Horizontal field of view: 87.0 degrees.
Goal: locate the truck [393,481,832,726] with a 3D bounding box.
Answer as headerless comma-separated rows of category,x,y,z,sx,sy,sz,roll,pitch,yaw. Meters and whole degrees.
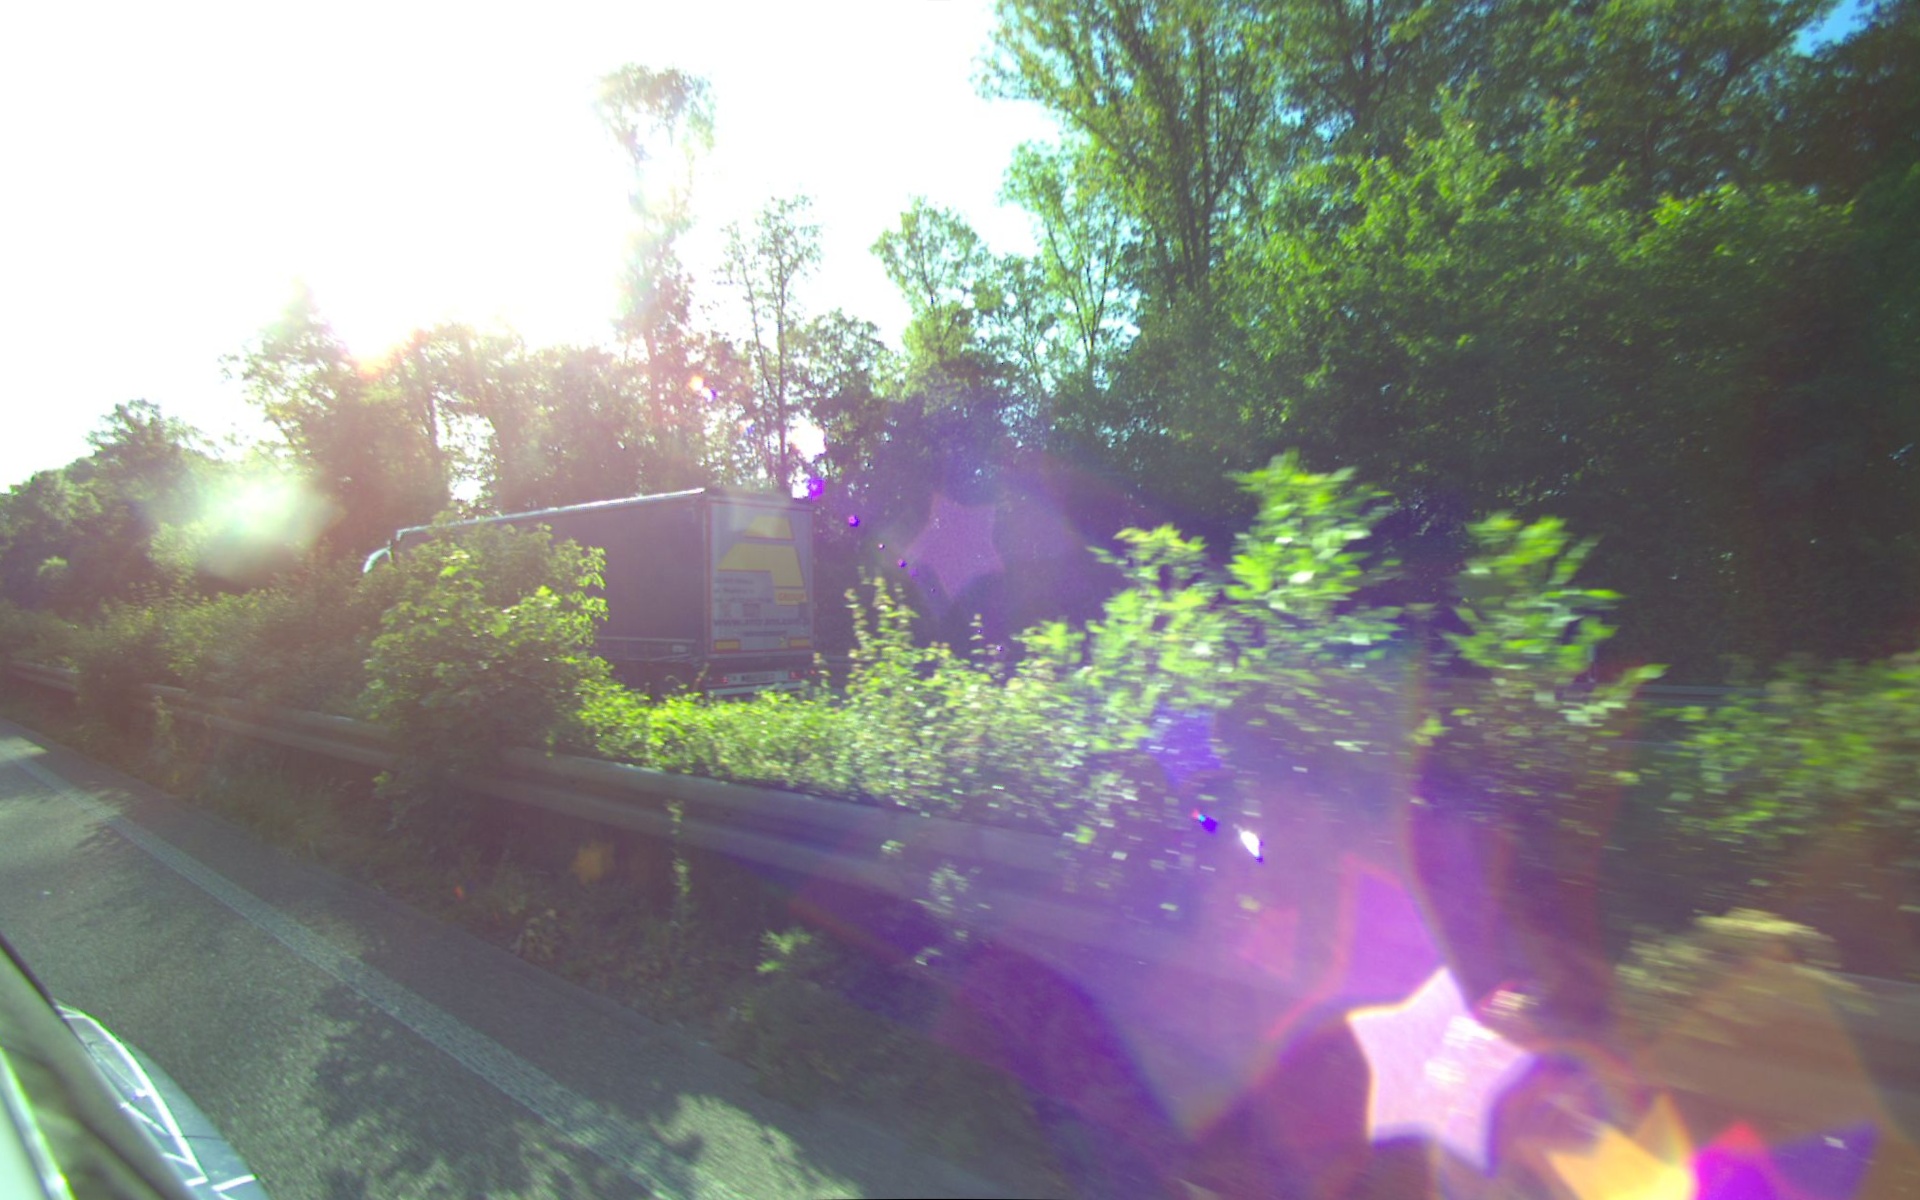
truck,-8.572,0.120,22.664,14.014,4.127,2.679,-1,0,41

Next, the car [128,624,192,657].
car,-38.680,1.901,48.899,4.268,1.469,1.760,-1,0,42

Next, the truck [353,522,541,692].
truck,-13.960,0.195,27.390,5.434,4.127,2.688,-1,0,41
